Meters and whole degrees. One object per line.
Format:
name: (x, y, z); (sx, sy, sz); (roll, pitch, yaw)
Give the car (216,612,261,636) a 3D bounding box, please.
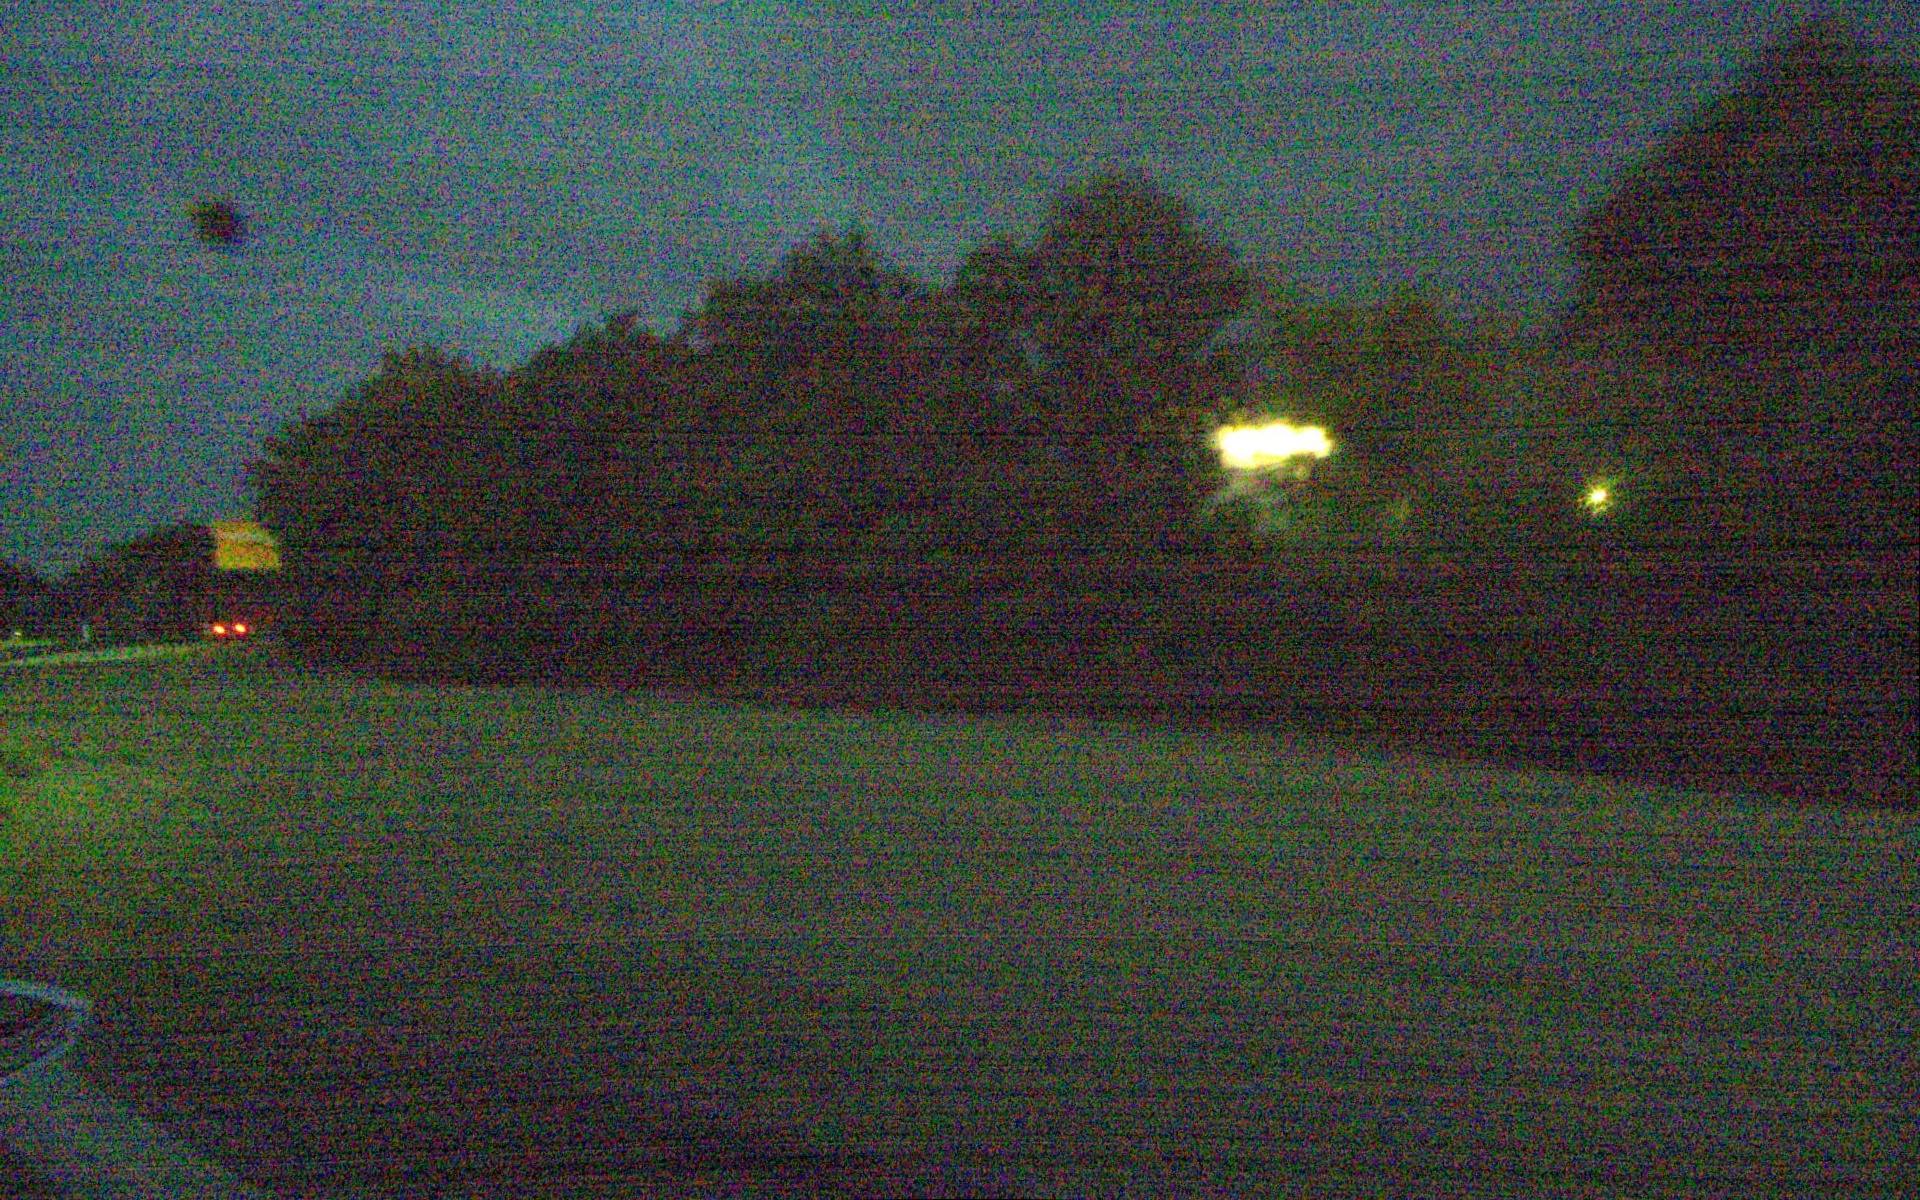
car: (-50.021, 1.655, 69.502); (1.970, 1.619, 3.983); (0, -1, -27)
